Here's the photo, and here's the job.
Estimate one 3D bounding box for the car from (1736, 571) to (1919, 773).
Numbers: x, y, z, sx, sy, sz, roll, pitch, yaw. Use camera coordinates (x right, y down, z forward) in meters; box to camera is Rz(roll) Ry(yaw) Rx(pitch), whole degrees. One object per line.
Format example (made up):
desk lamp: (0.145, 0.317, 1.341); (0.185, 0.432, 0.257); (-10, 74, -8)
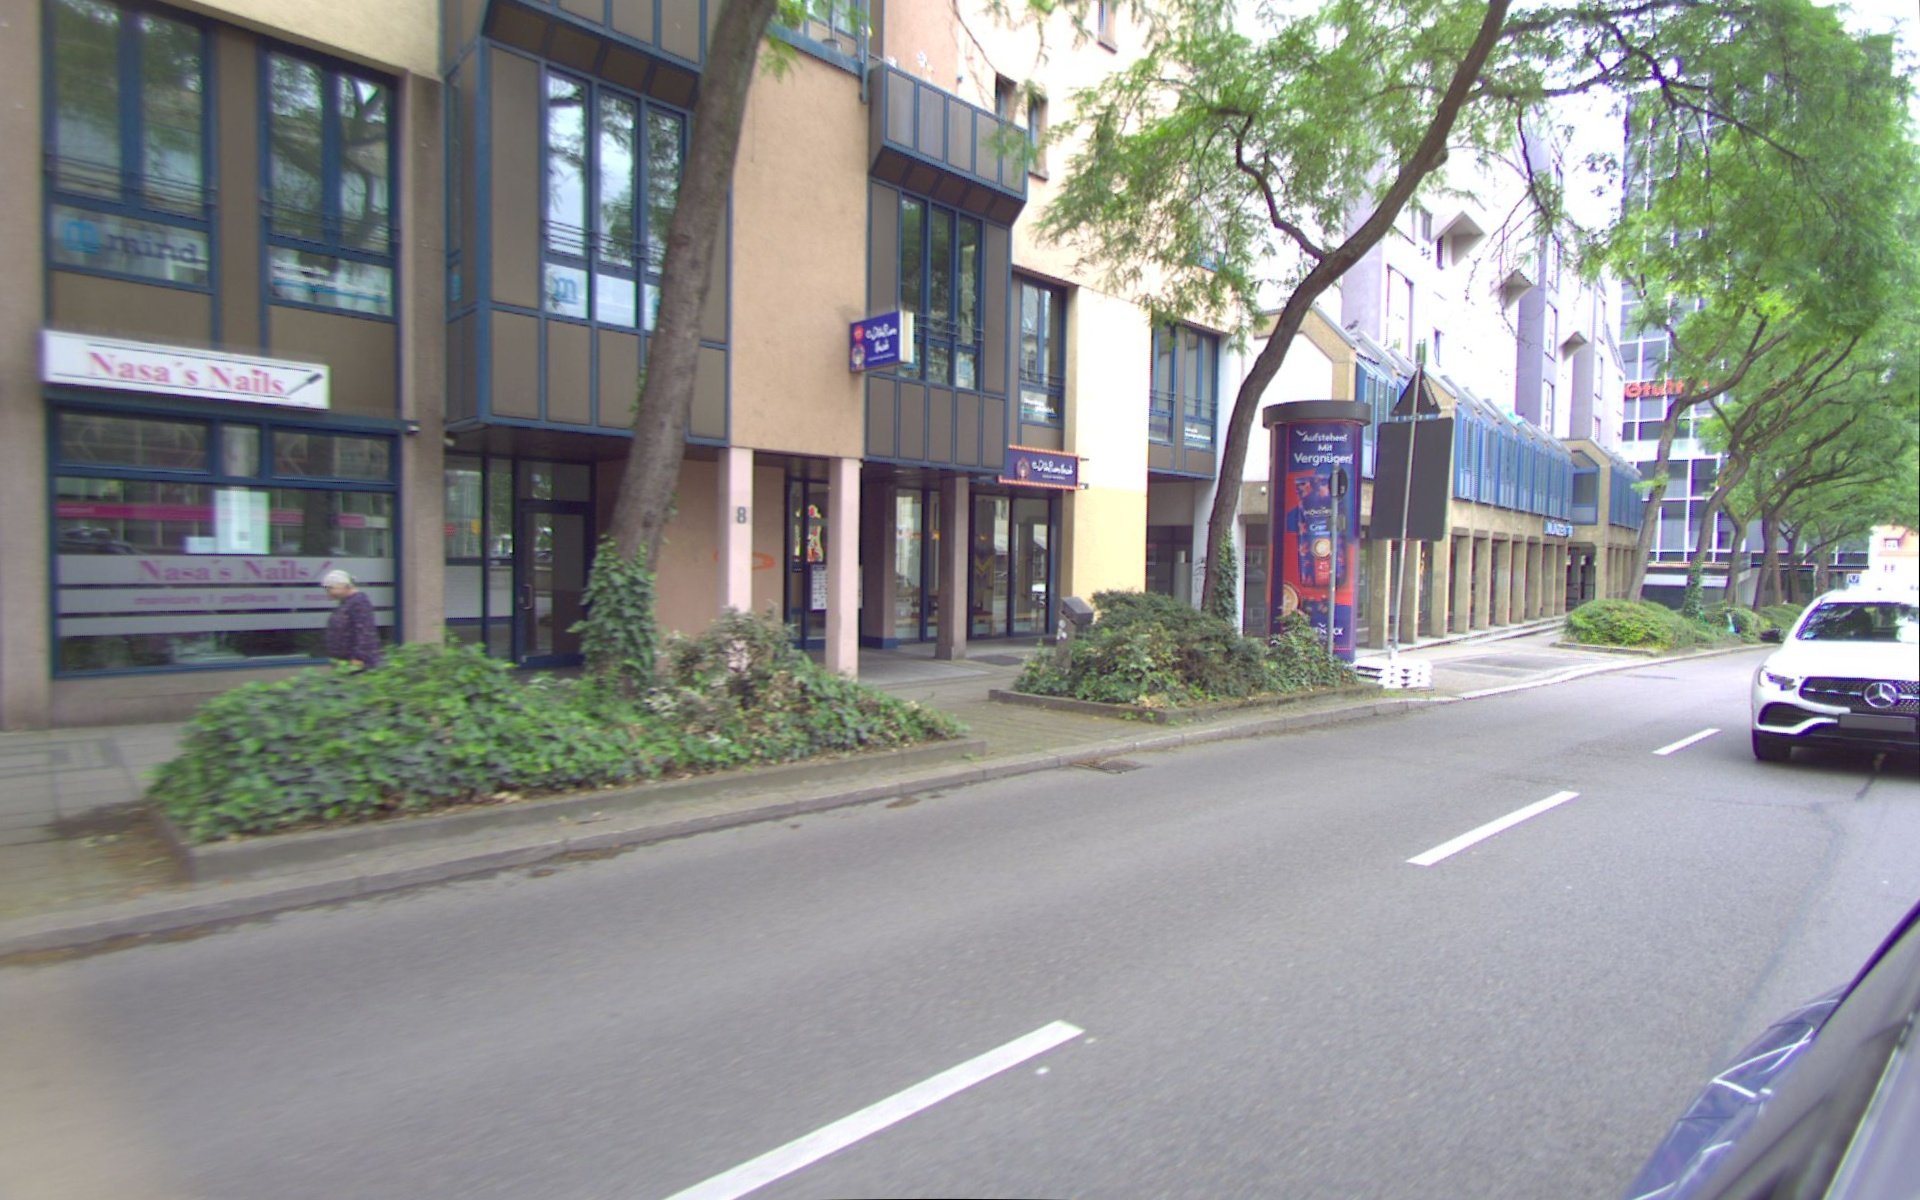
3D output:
car: (9.008, 0.570, 9.594); (3.861, 1.628, 2.057); (0, 1, -44)

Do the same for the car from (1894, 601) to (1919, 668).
car: (22.595, 0.764, 22.885); (4.533, 1.404, 1.886); (0, 1, -44)

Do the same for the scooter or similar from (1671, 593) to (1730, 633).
scooter or similar: (27.191, 0.470, 37.170); (1.575, 1.452, 0.729); (1, 0, 16)

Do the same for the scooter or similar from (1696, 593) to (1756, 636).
scooter or similar: (26.986, 0.503, 35.661); (1.512, 1.452, 0.685); (1, 0, 16)

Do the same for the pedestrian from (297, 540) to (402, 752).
pedestrian: (-5.279, 0.370, 8.745); (0.675, 1.732, 0.711); (2, 0, -37)
